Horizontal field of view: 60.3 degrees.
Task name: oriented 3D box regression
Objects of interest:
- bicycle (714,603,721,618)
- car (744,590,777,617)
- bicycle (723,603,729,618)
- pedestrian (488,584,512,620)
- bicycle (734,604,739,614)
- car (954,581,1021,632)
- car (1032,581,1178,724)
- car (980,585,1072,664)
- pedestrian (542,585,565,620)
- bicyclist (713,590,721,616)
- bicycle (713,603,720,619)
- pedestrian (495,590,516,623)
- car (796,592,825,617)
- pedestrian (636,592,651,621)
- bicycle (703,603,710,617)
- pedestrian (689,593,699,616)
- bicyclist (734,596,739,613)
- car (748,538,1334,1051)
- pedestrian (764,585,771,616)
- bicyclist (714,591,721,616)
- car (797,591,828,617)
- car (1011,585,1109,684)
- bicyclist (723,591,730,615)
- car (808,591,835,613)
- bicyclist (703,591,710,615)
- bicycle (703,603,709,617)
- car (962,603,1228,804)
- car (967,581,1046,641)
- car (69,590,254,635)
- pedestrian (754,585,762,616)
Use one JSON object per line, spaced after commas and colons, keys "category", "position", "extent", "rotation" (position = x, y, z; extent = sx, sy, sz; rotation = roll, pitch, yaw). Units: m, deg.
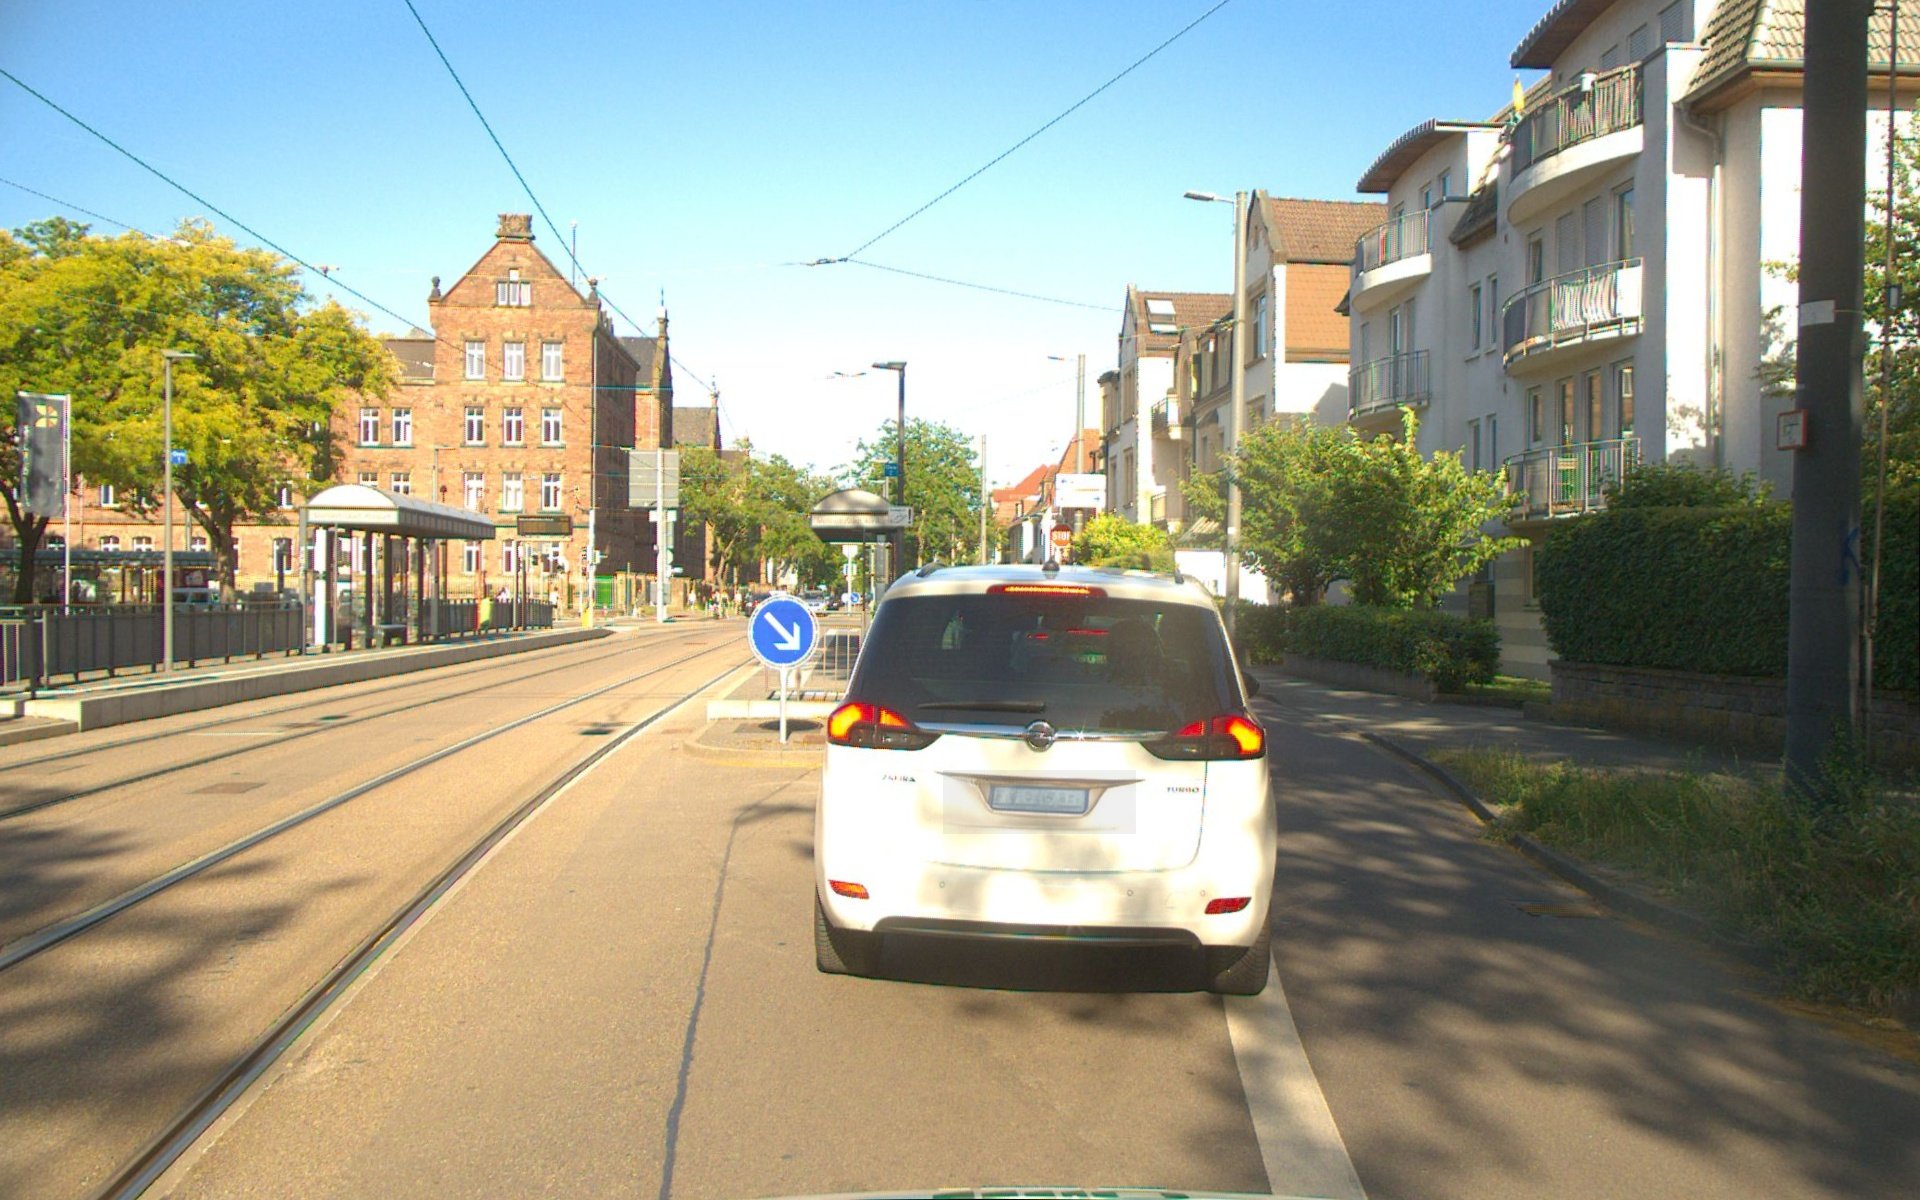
{"category": "bicycle", "position": [-15.610, 0.680, 106.355], "extent": [0.337, 0.966, 0.996], "rotation": [1, 0, -4]}
{"category": "car", "position": [-12.856, 0.216, 106.876], "extent": [1.955, 1.657, 3.996], "rotation": [0, 0, -5]}
{"category": "bicycle", "position": [-15.392, 0.695, 108.907], "extent": [0.337, 0.966, 0.996], "rotation": [1, 0, -4]}
{"category": "pedestrian", "position": [-22.100, 0.091, 79.459], "extent": [0.825, 1.721, 1.029], "rotation": [1, 0, -1]}
{"category": "bicycle", "position": [-17.170, 0.704, 127.087], "extent": [0.337, 0.737, 0.996], "rotation": [1, 0, -4]}
{"category": "car", "position": [0.829, 0.201, 51.757], "extent": [1.953, 1.529, 3.999], "rotation": [0, 0, -1]}
{"category": "car", "position": [1.740, 0.589, 20.832], "extent": [1.603, 1.629, 3.855], "rotation": [0, 0, 1]}
{"category": "car", "position": [1.379, 0.499, 36.180], "extent": [1.793, 1.607, 4.009], "rotation": [0, 0, -1]}
{"category": "pedestrian", "position": [-19.759, 0.128, 80.381], "extent": [0.877, 1.713, 1.029], "rotation": [1, 0, -1]}
{"category": "bicyclist", "position": [-15.153, 0.197, 103.037], "extent": [0.435, 1.580, 0.742], "rotation": [0, 0, -4]}
{"category": "bicycle", "position": [-15.162, 0.672, 102.829], "extent": [0.337, 0.966, 1.159], "rotation": [1, 0, -4]}
{"category": "pedestrian", "position": [-22.396, 0.323, 81.500], "extent": [0.786, 1.616, 0.934], "rotation": [1, 0, -3]}
{"category": "car", "position": [-10.350, 0.283, 114.243], "extent": [1.955, 1.657, 3.996], "rotation": [0, 0, -5]}
{"category": "pedestrian", "position": [-18.908, 0.394, 98.781], "extent": [0.719, 1.744, 0.706], "rotation": [1, -1, -1]}
{"category": "bicycle", "position": [-17.316, 0.680, 113.023], "extent": [0.337, 0.966, 0.996], "rotation": [1, 0, -4]}
{"category": "pedestrian", "position": [-20.997, 0.356, 130.448], "extent": [0.720, 1.744, 0.753], "rotation": [1, -1, -6]}
{"category": "bicyclist", "position": [-17.169, 0.329, 127.107], "extent": [0.352, 1.326, 0.397], "rotation": [0, 0, -4]}
{"category": "car", "position": [0.455, 0.650, 7.586], "extent": [1.951, 1.673, 3.996], "rotation": [1, 0, 6]}
{"category": "pedestrian", "position": [-13.055, 0.039, 112.039], "extent": [0.435, 2.049, 0.495], "rotation": [0, 0, -4]}
{"category": "bicyclist", "position": [-15.573, 0.205, 106.313], "extent": [0.435, 1.580, 0.495], "rotation": [0, 0, -4]}
{"category": "car", "position": [-9.546, 0.266, 107.149], "extent": [1.955, 1.657, 3.996], "rotation": [0, 0, -5]}
{"category": "car", "position": [1.713, 0.556, 29.261], "extent": [1.603, 1.629, 3.855], "rotation": [0, 0, 1]}
{"category": "bicyclist", "position": [-15.382, 0.220, 108.900], "extent": [0.435, 1.580, 0.495], "rotation": [0, 0, -4]}
{"category": "car", "position": [-10.940, 0.167, 130.472], "extent": [1.953, 1.657, 3.998], "rotation": [0, 0, -3]}
{"category": "bicyclist", "position": [-17.331, 0.204, 112.982], "extent": [0.435, 1.580, 0.495], "rotation": [0, 0, -4]}
{"category": "bicycle", "position": [-17.654, 0.682, 114.848], "extent": [0.337, 0.966, 0.996], "rotation": [1, 0, -4]}
{"category": "car", "position": [1.030, 0.751, 13.974], "extent": [1.912, 1.422, 4.001], "rotation": [0, 0, 1]}
{"category": "car", "position": [1.199, 0.266, 44.301], "extent": [1.953, 1.529, 3.999], "rotation": [0, 0, -1]}
{"category": "car", "position": [-35.725, 0.546, 74.180], "extent": [6.810, 1.954, 2.991], "rotation": [0, 0, -2]}
{"category": "pedestrian", "position": [-13.646, 0.028, 111.732], "extent": [0.435, 2.049, 0.495], "rotation": [0, 0, -4]}
